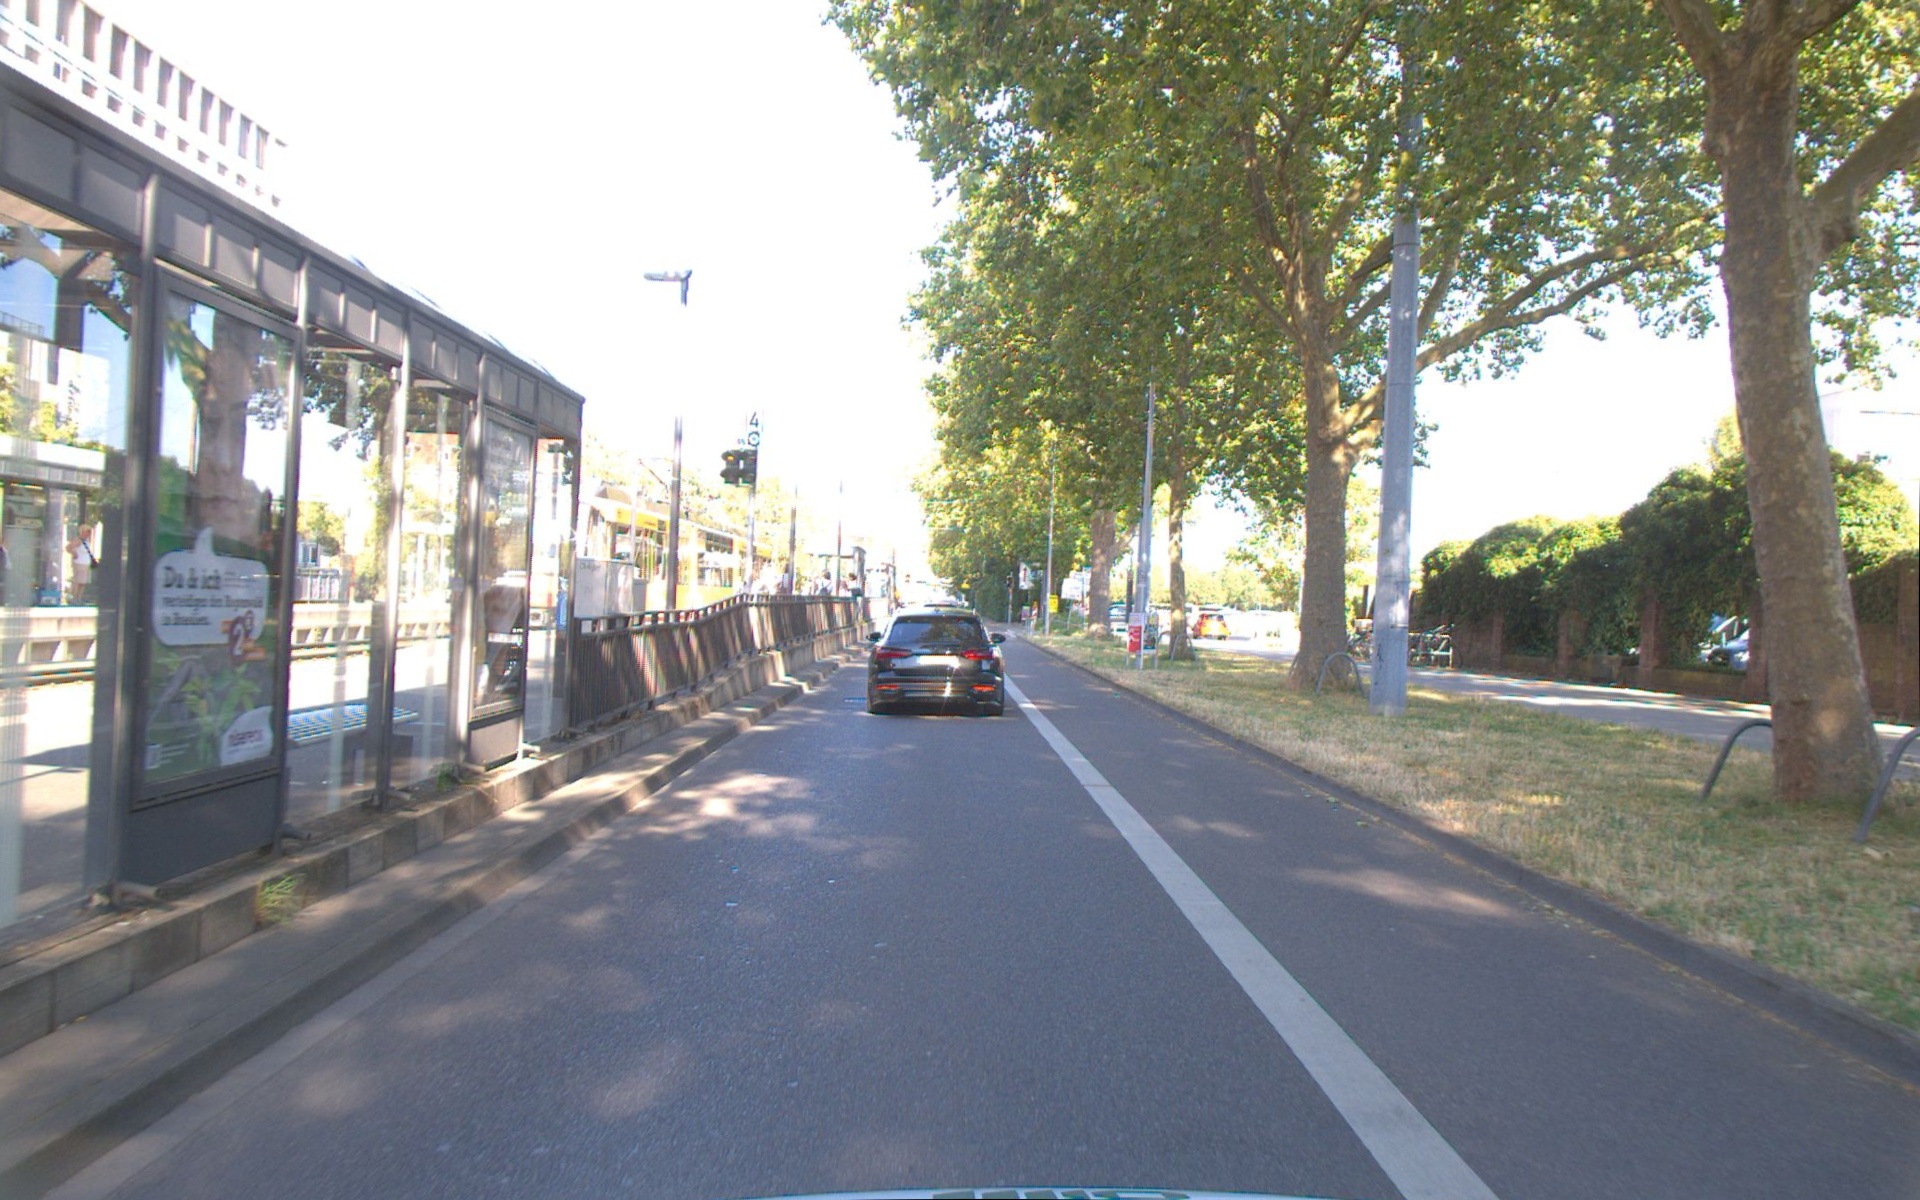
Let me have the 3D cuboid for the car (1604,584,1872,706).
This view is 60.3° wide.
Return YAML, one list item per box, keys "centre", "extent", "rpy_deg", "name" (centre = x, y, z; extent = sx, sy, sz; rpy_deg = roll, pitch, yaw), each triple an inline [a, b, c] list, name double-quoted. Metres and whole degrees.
- centre: [18.412, 1.046, 39.318]
  extent: [5.351, 2.533, 1.999]
  rpy_deg: [3, 0, -1]
  name: "car"

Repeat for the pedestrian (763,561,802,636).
- centre: [-3.847, -0.032, 35.818]
  extent: [0.601, 1.576, 0.725]
  rpy_deg: [2, 0, 10]
  name: "pedestrian"

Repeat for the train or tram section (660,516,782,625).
- centre: [-9.536, -1.102, 67.437]
  extent: [3.242, 3.896, 11.841]
  rpy_deg: [3, 0, -1]
  name: "train or tram section"

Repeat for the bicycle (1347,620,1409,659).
- centre: [12.625, 1.197, 49.944]
  extent: [1.737, 1.140, 0.439]
  rpy_deg: [1, 0, -2]
  name: "bicycle"

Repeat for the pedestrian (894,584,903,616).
- centre: [-3.373, -0.020, 90.963]
  extent: [0.403, 1.746, 0.665]
  rpy_deg: [3, 0, -1]
  name: "pedestrian"

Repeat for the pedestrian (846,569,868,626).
- centre: [-3.381, -0.075, 54.126]
  extent: [0.599, 1.815, 0.613]
  rpy_deg: [2, 0, 0]
  name: "pedestrian"

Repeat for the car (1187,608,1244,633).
- centre: [21.018, 1.678, 136.266]
  extent: [4.267, 1.847, 1.998]
  rpy_deg: [3, 0, -5]
  name: "car"

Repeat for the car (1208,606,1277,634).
- centre: [18.964, 1.347, 111.276]
  extent: [4.365, 1.687, 1.918]
  rpy_deg: [3, 0, 3]
  name: "car"

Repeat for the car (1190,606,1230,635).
- centre: [14.196, 1.163, 94.012]
  extent: [1.581, 1.542, 3.802]
  rpy_deg: [3, 0, 0]
  name: "car"

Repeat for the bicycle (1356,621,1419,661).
- centre: [12.628, 1.204, 48.857]
  extent: [1.737, 1.140, 0.439]
  rpy_deg: [1, 0, -2]
  name: "bicycle"

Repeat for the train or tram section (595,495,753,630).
- centre: [-9.325, -1.108, 55.544]
  extent: [3.242, 3.896, 11.841]
  rpy_deg: [3, 0, -1]
  name: "train or tram section"

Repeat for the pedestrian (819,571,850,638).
- centre: [-3.218, 0.113, 42.403]
  extent: [0.602, 1.671, 0.610]
  rpy_deg: [3, 0, -20]
  name: "pedestrian"

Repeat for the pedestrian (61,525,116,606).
- centre: [-17.267, -0.679, 32.786]
  extent: [0.601, 1.554, 0.725]
  rpy_deg: [2, 0, 8]
  name: "pedestrian"

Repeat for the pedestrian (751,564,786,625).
- centre: [-5.861, -0.179, 50.613]
  extent: [0.788, 1.815, 0.639]
  rpy_deg: [3, -1, -41]
  name: "pedestrian"

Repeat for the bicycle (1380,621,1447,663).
- centre: [12.808, 1.195, 46.727]
  extent: [1.737, 1.140, 0.439]
  rpy_deg: [1, 0, -2]
  name: "bicycle"

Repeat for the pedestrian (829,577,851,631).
- centre: [-4.100, 0.129, 56.521]
  extent: [0.597, 1.815, 0.681]
  rpy_deg: [2, 0, -1]
  name: "pedestrian"

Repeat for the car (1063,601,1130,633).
- centre: [8.442, 1.069, 102.379]
  extent: [3.905, 1.795, 1.833]
  rpy_deg: [3, 0, 0]
  name: "car"

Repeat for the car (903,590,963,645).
- centre: [-0.898, 0.540, 53.216]
  extent: [1.727, 1.647, 3.998]
  rpy_deg: [3, 0, -3]
  name: "car"

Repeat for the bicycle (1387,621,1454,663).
- centre: [12.738, 1.161, 45.776]
  extent: [1.737, 1.140, 0.439]
  rpy_deg: [1, 0, -2]
  name: "bicycle"

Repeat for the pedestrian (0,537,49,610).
- centre: [-17.180, -0.480, 30.190]
  extent: [0.601, 1.282, 0.725]
  rpy_deg: [2, 0, 3]
  name: "pedestrian"

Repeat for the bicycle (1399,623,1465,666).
- centre: [12.747, 1.202, 44.709]
  extent: [1.653, 1.140, 0.439]
  rpy_deg: [1, 0, -2]
  name: "bicycle"

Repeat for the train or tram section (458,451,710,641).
- centre: [-9.121, -1.151, 42.494]
  extent: [3.242, 3.896, 14.216]
  rpy_deg: [3, 0, -1]
  name: "train or tram section"

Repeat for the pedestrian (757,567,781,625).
- centre: [-6.144, -0.132, 53.289]
  extent: [0.599, 1.815, 0.775]
  rpy_deg: [2, 0, -1]
  name: "pedestrian"

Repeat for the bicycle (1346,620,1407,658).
- centre: [12.836, 1.197, 50.993]
  extent: [1.737, 1.140, 0.439]
  rpy_deg: [1, 0, -2]
  name: "bicycle"

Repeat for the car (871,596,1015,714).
- centre: [-0.302, 0.711, 23.003]
  extent: [1.840, 1.482, 3.355]
  rpy_deg: [1, 0, -3]
  name: "car"

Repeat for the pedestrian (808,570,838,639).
- centre: [-3.448, 0.117, 41.678]
  extent: [0.599, 1.697, 0.613]
  rpy_deg: [2, 0, 1]
  name: "pedestrian"

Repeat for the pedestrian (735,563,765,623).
- centre: [-6.505, -0.226, 51.183]
  extent: [0.777, 1.815, 0.625]
  rpy_deg: [3, 0, -1]
  name: "pedestrian"
